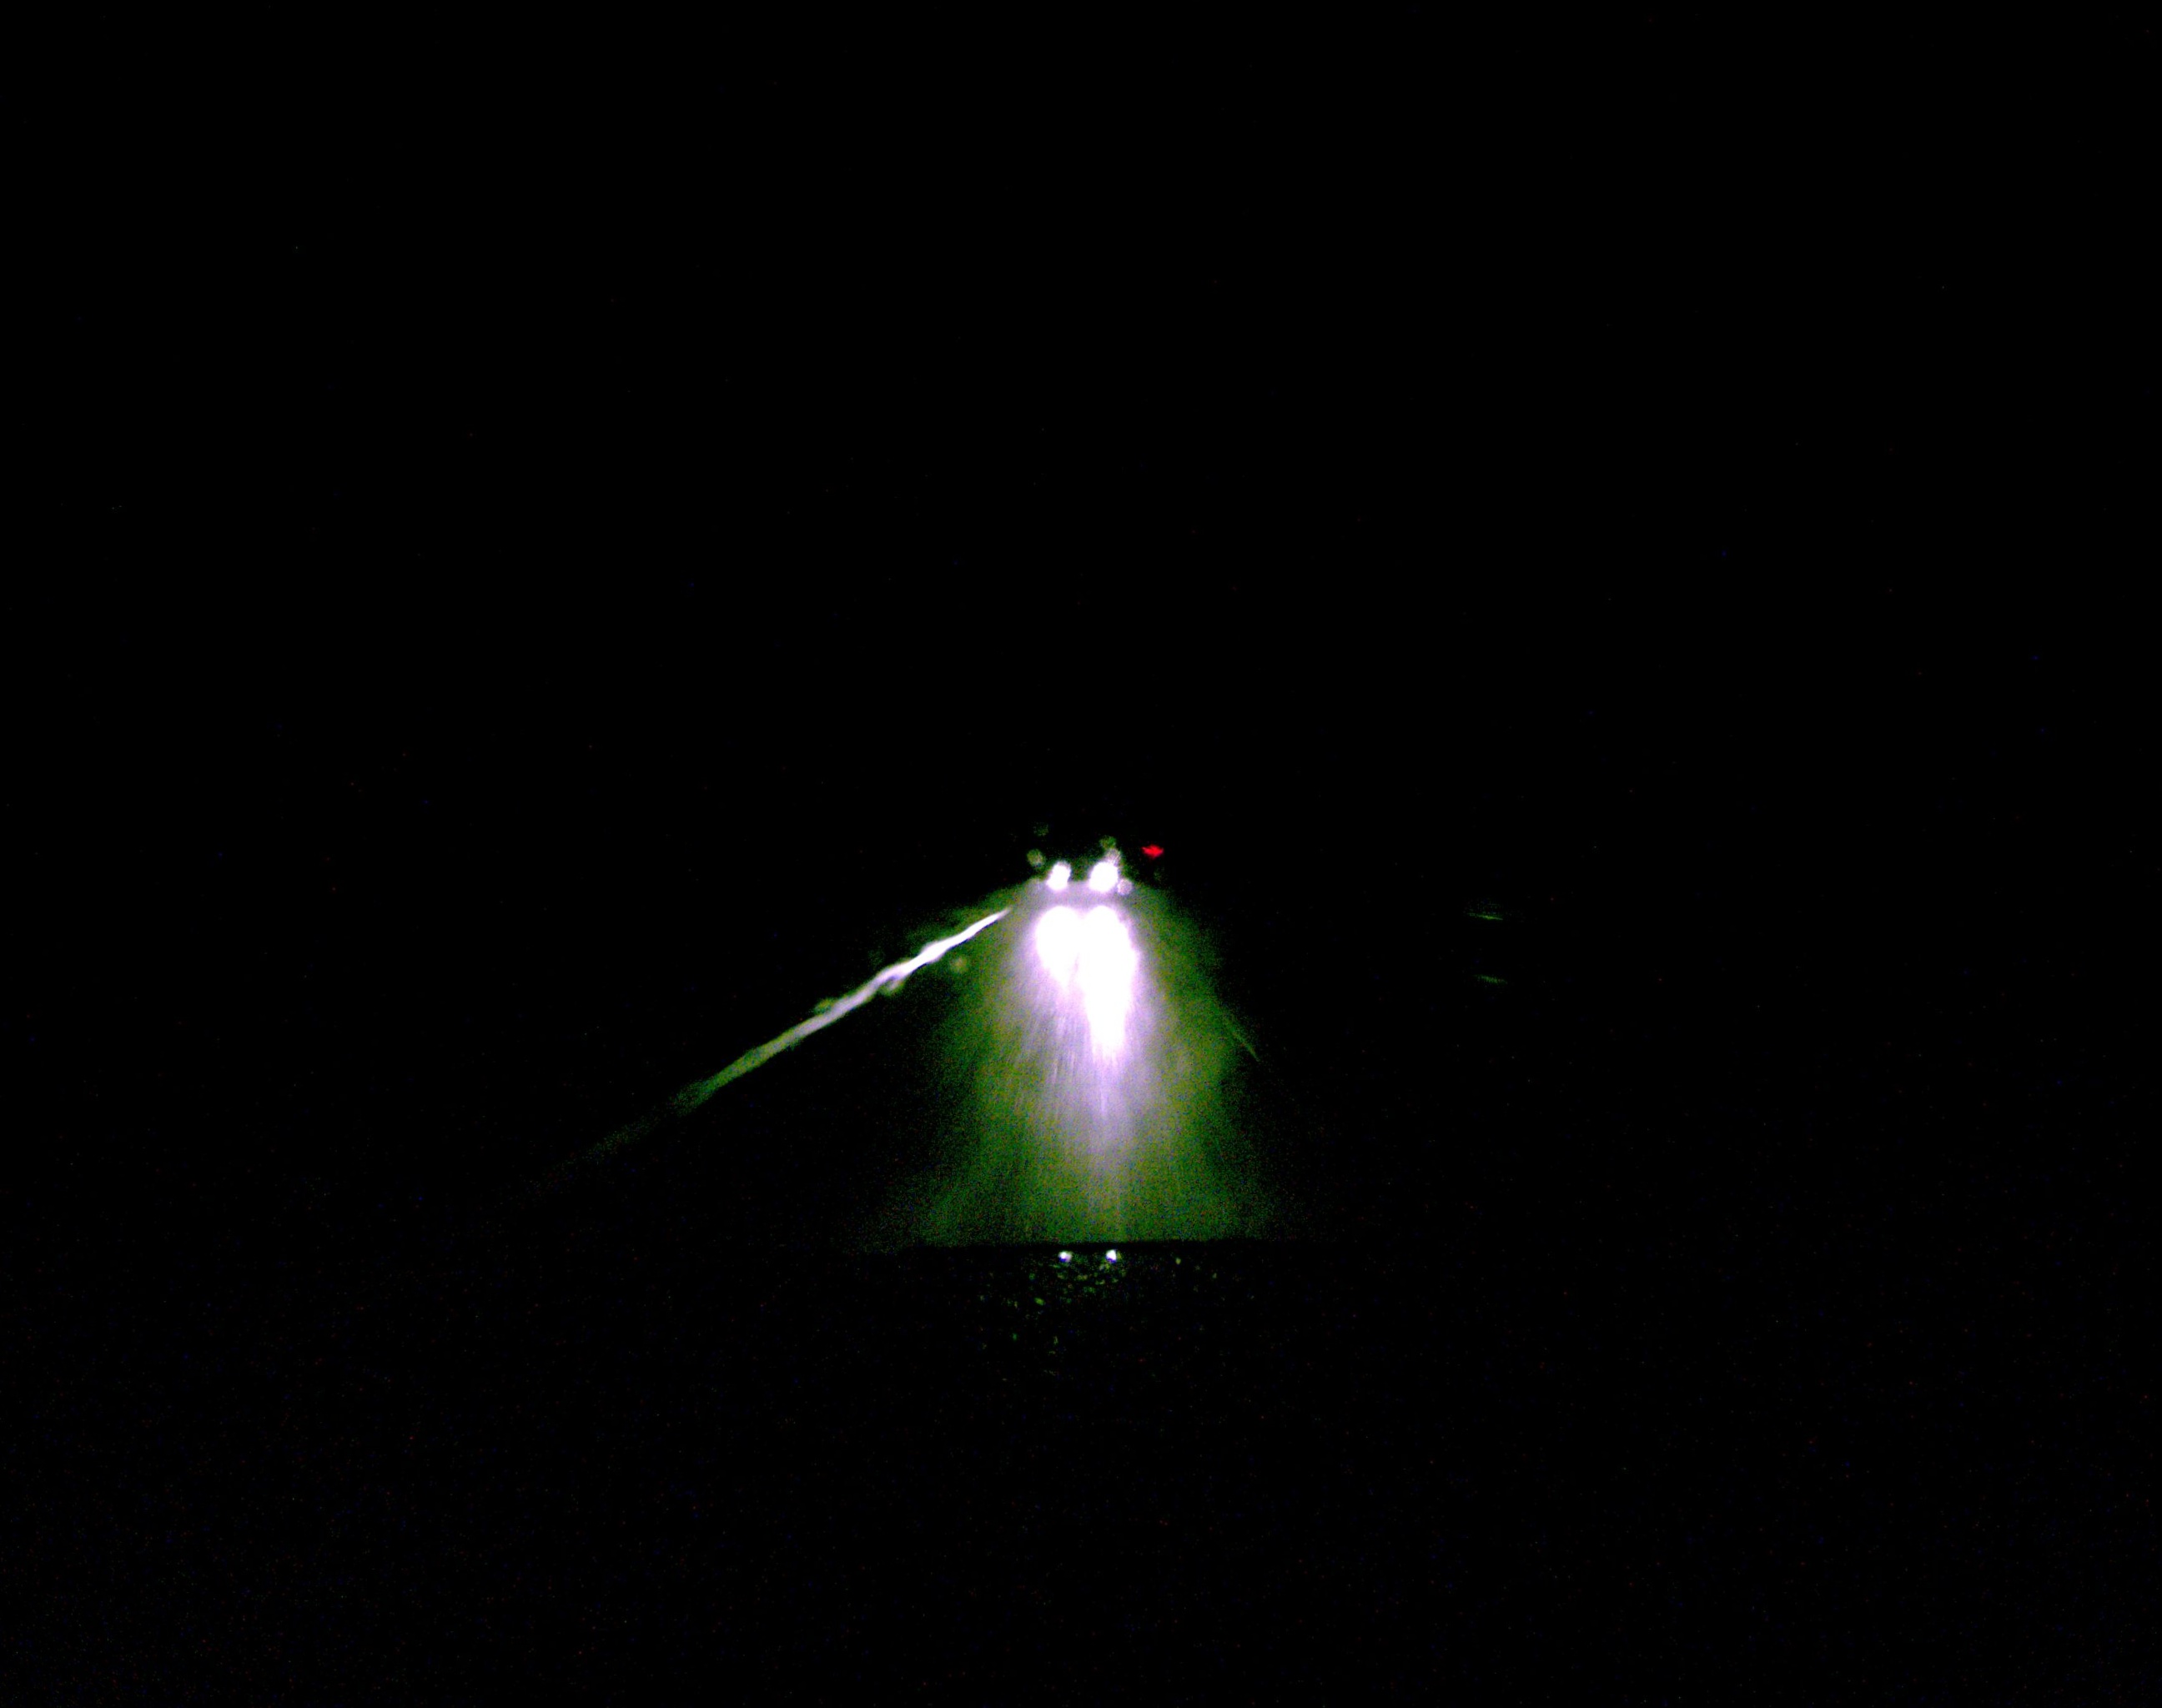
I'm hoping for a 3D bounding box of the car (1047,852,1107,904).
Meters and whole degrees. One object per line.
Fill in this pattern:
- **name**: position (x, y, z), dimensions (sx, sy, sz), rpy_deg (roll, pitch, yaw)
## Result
- **car**: position (-0.062, 0.823, 26.881), dimensions (1.793, 1.593, 4.002), rpy_deg (-3, -1, 3)
